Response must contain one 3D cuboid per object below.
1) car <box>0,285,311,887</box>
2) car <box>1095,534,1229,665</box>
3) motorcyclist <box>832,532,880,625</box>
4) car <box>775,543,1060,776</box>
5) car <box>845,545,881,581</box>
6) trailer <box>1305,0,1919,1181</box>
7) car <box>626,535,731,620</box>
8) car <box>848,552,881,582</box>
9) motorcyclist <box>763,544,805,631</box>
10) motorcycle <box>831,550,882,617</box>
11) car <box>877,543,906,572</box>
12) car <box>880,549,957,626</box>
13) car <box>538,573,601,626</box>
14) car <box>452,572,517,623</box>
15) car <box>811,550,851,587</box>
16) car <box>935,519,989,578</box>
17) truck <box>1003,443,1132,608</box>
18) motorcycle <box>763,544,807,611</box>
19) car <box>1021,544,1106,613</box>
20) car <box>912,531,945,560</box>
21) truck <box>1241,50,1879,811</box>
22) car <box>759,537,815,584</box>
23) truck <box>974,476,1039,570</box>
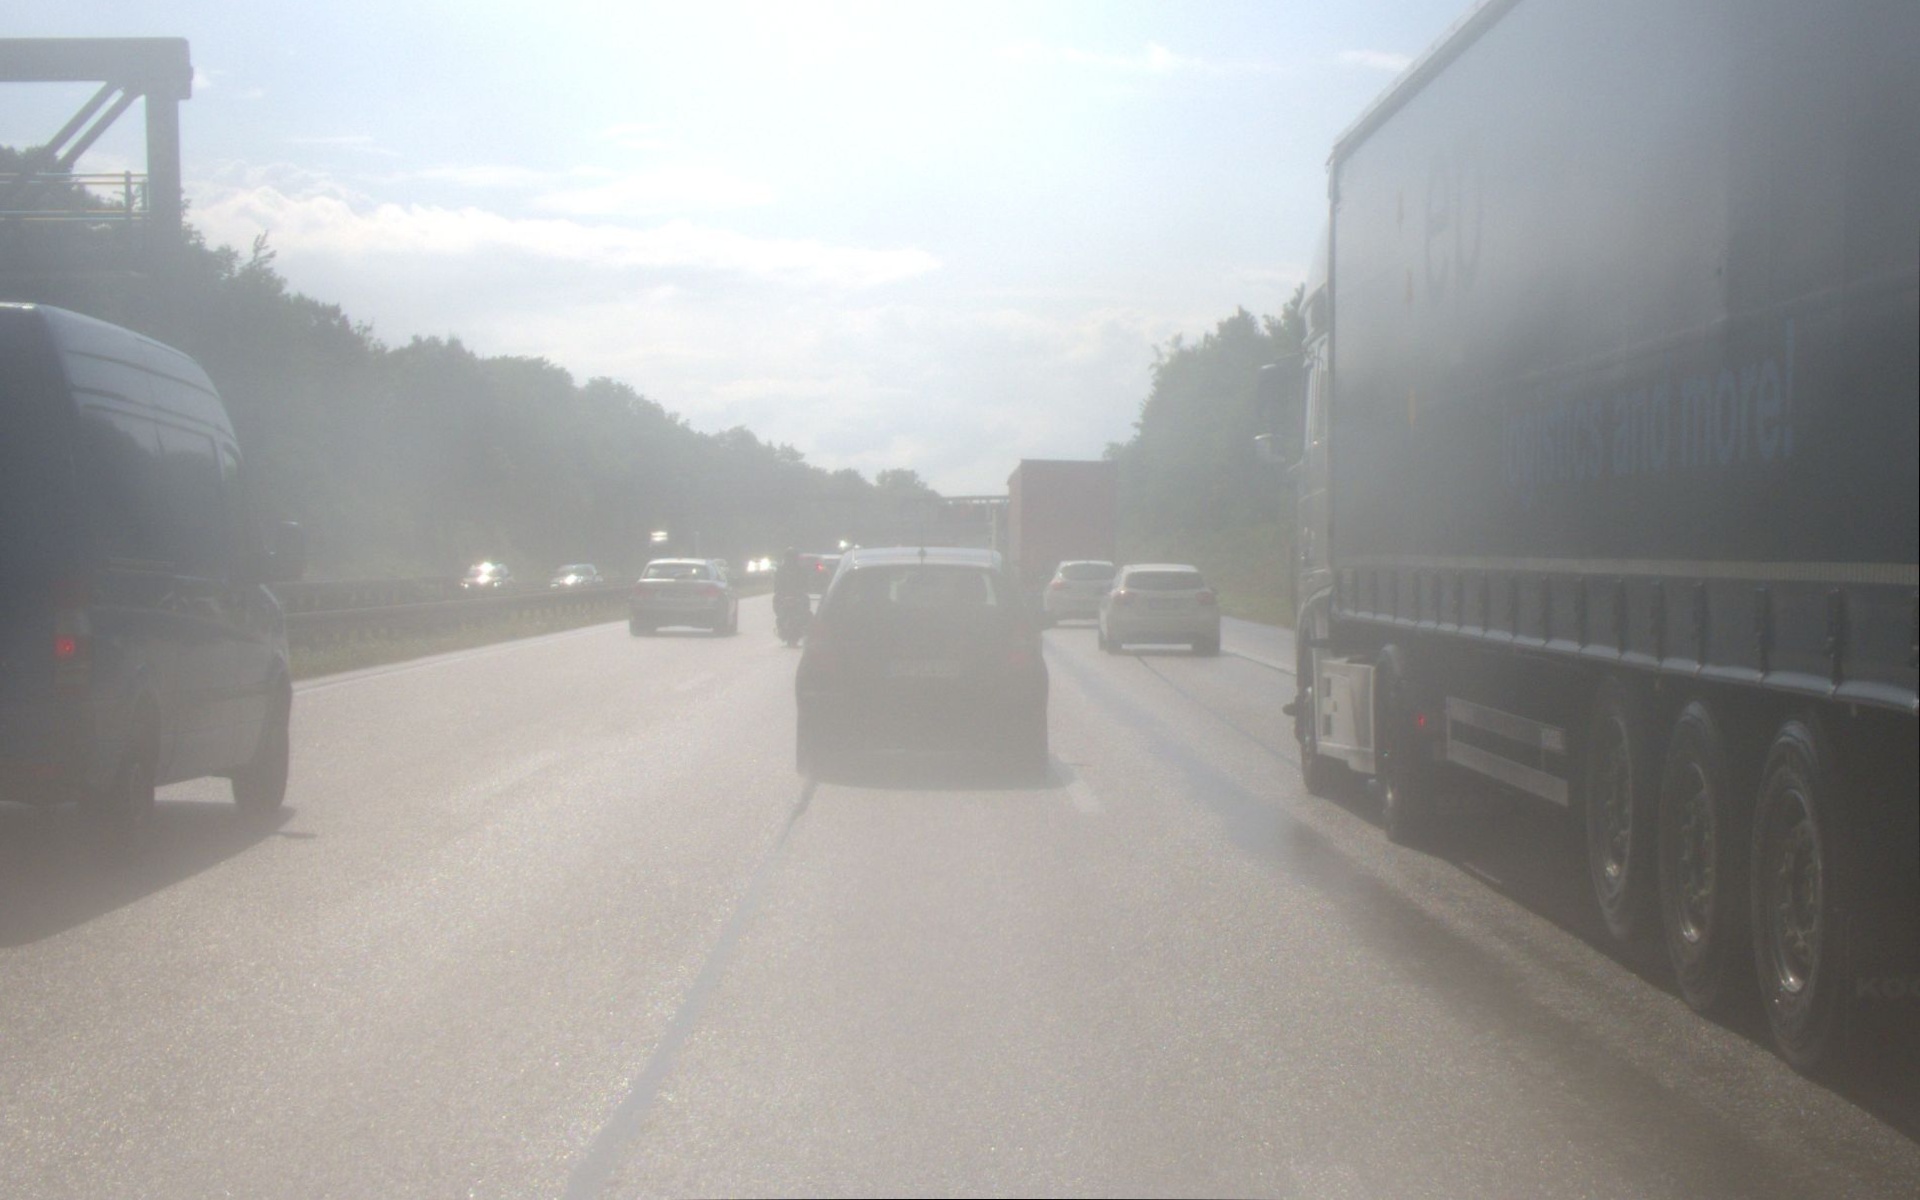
[{"bbox_3d":[-4.879,-0.107,17.939,2.015,2.639,5.777,0,1,-1],"label":"car"},{"bbox_3d":[3.213,-0.025,55.229,1.849,2.007,4.087,1,0,-1],"label":"car"},{"bbox_3d":[-1.995,-0.411,65.925,0.821,1.754,1.390,1,0,-5],"label":"motorcyclist"},{"bbox_3d":[-0.339,0.368,25.313,1.915,1.560,4.314,0,1,-1],"label":"car"},{"bbox_3d":[-5.520,-2.121,195.839,1.993,2.007,4.000,1,0,-1],"label":"car"},{"bbox_3d":[3.746,-0.860,13.985,3.088,4.298,14.106,0,1,-1],"label":"trailer"},{"bbox_3d":[-5.417,-0.451,66.542,1.758,1.589,4.331,0,1,-1],"label":"car"},{"bbox_3d":[-4.923,-1.697,176.825,1.675,1.485,3.437,0,1,-1],"label":"car"},{"bbox_3d":[-2.951,-0.215,57.577,0.670,1.437,1.020,1,0,-4],"label":"motorcyclist"},{"bbox_3d":[-2.001,-0.326,65.990,0.819,1.258,2.118,1,1,-6],"label":"motorcycle"},{"bbox_3d":[-4.851,-3.010,241.755,1.993,2.007,4.000,1,0,-1],"label":"car"},{"bbox_3d":[-1.139,-0.352,92.632,1.993,2.007,4.000,1,0,-2],"label":"car"},{"bbox_3d":[-15.234,-0.055,134.409,1.993,2.007,4.733,1,0,-1],"label":"car"},{"bbox_3d":[-18.962,-0.121,137.283,1.993,2.007,4.733,1,0,-1],"label":"car"},{"bbox_3d":[-5.669,-1.403,151.135,1.675,1.591,3.437,0,1,-1],"label":"car"},{"bbox_3d":[0.050,-1.708,115.056,1.675,1.929,3.774,0,1,-1],"label":"car"},{"bbox_3d":[2.918,-2.045,96.199,3.202,4.389,9.433,0,1,-1],"label":"truck"},{"bbox_3d":[-2.937,-0.386,57.549,0.676,1.083,1.982,1,1,-4],"label":"motorcycle"},{"bbox_3d":[2.256,-0.492,75.827,1.675,1.485,3.437,0,1,-1],"label":"car"},{"bbox_3d":[-1.641,-2.854,179.107,1.631,1.485,3.437,0,1,-1],"label":"car"},{"bbox_3d":[3.663,-0.990,22.552,3.052,4.310,5.886,1,0,-1],"label":"truck"},{"bbox_3d":[-6.171,-1.421,123.161,1.893,1.622,4.195,0,1,-1],"label":"car"},{"bbox_3d":[2.334,-3.875,176.944,2.882,4.671,12.659,1,0,-1],"label":"truck"}]
